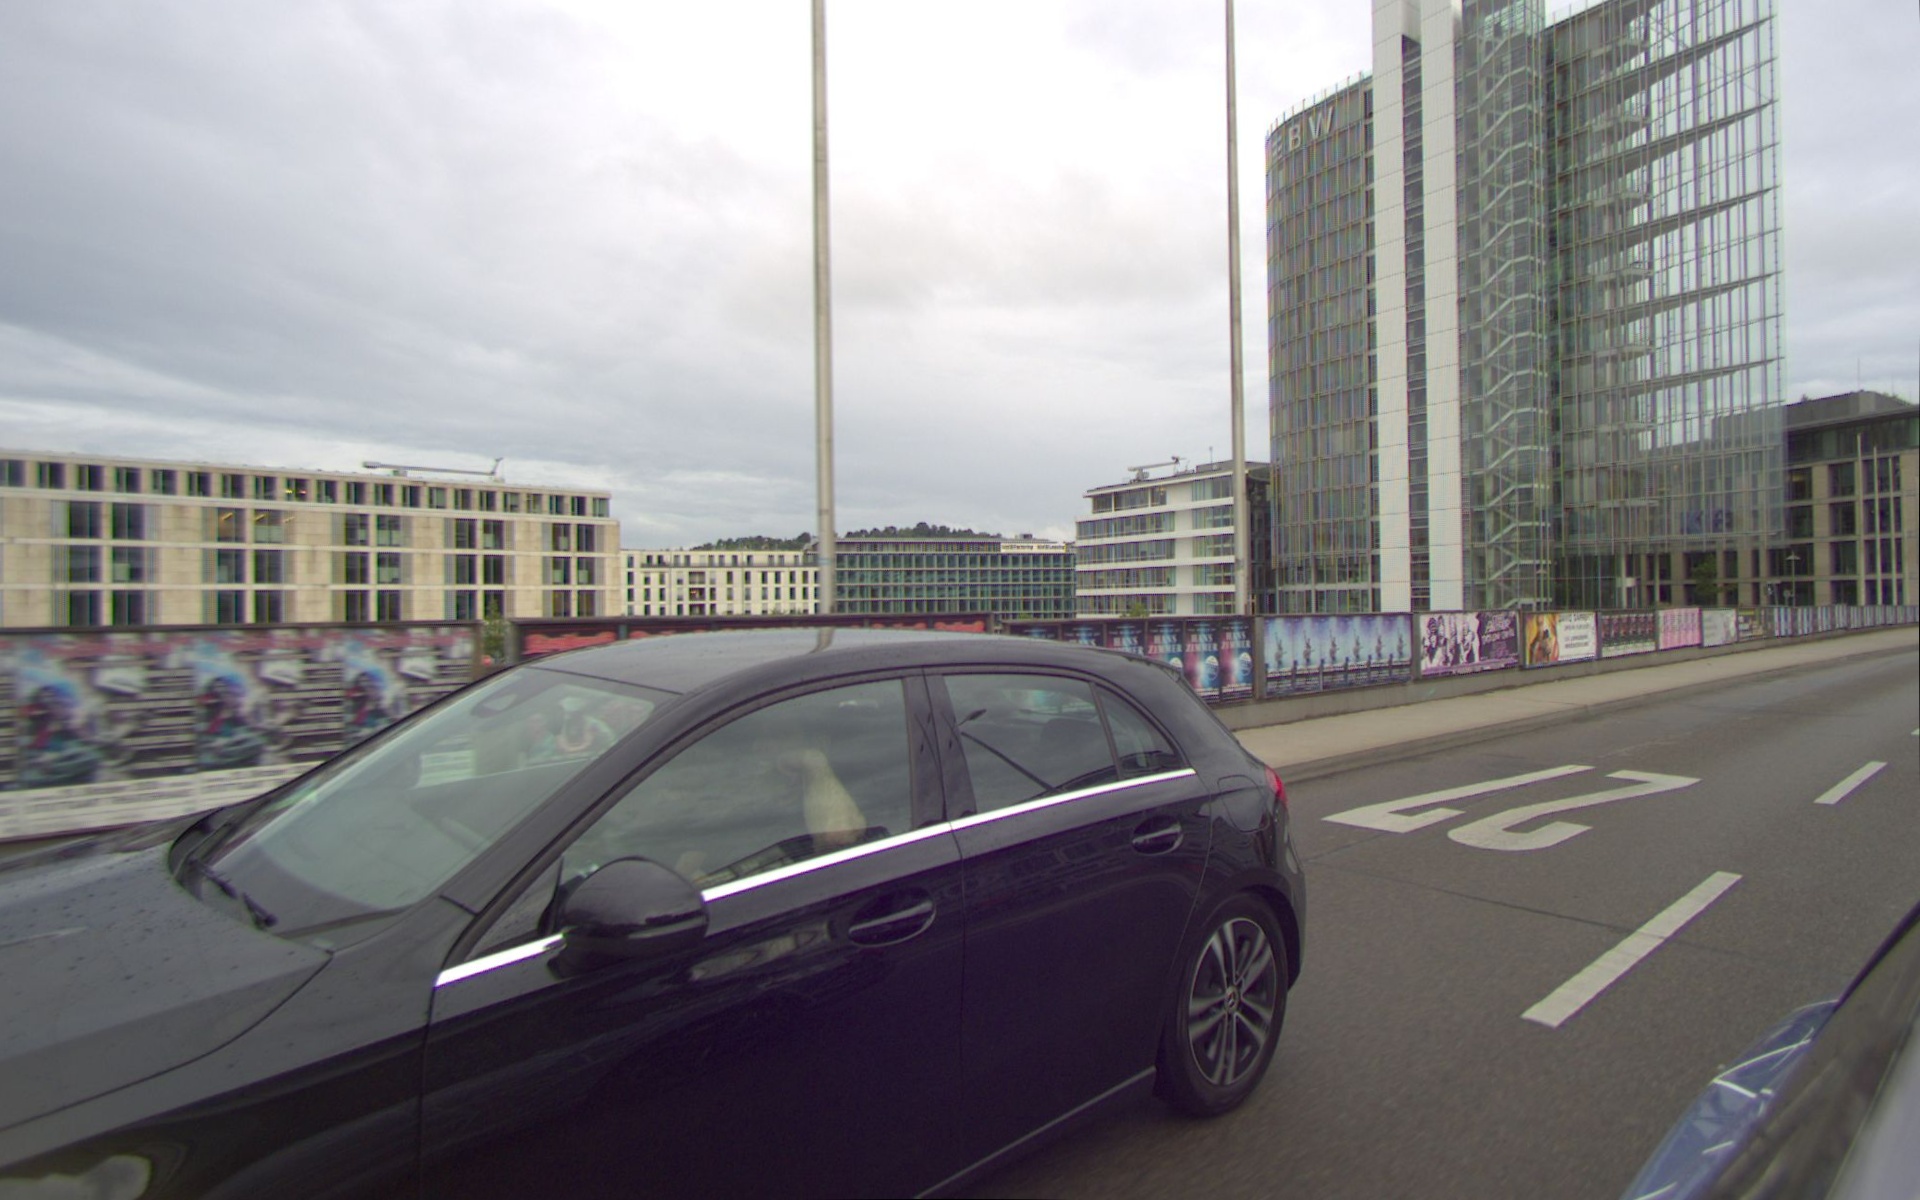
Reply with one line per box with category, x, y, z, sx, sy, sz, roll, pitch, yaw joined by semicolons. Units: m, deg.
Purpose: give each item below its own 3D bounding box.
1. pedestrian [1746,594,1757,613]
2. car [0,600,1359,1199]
pedestrian;77.859;0.337;99.541;0.621;1.767;0.637;-1;0;-15
car;-0.727;0.741;2.628;4.086;1.393;1.725;-2;1;-43
